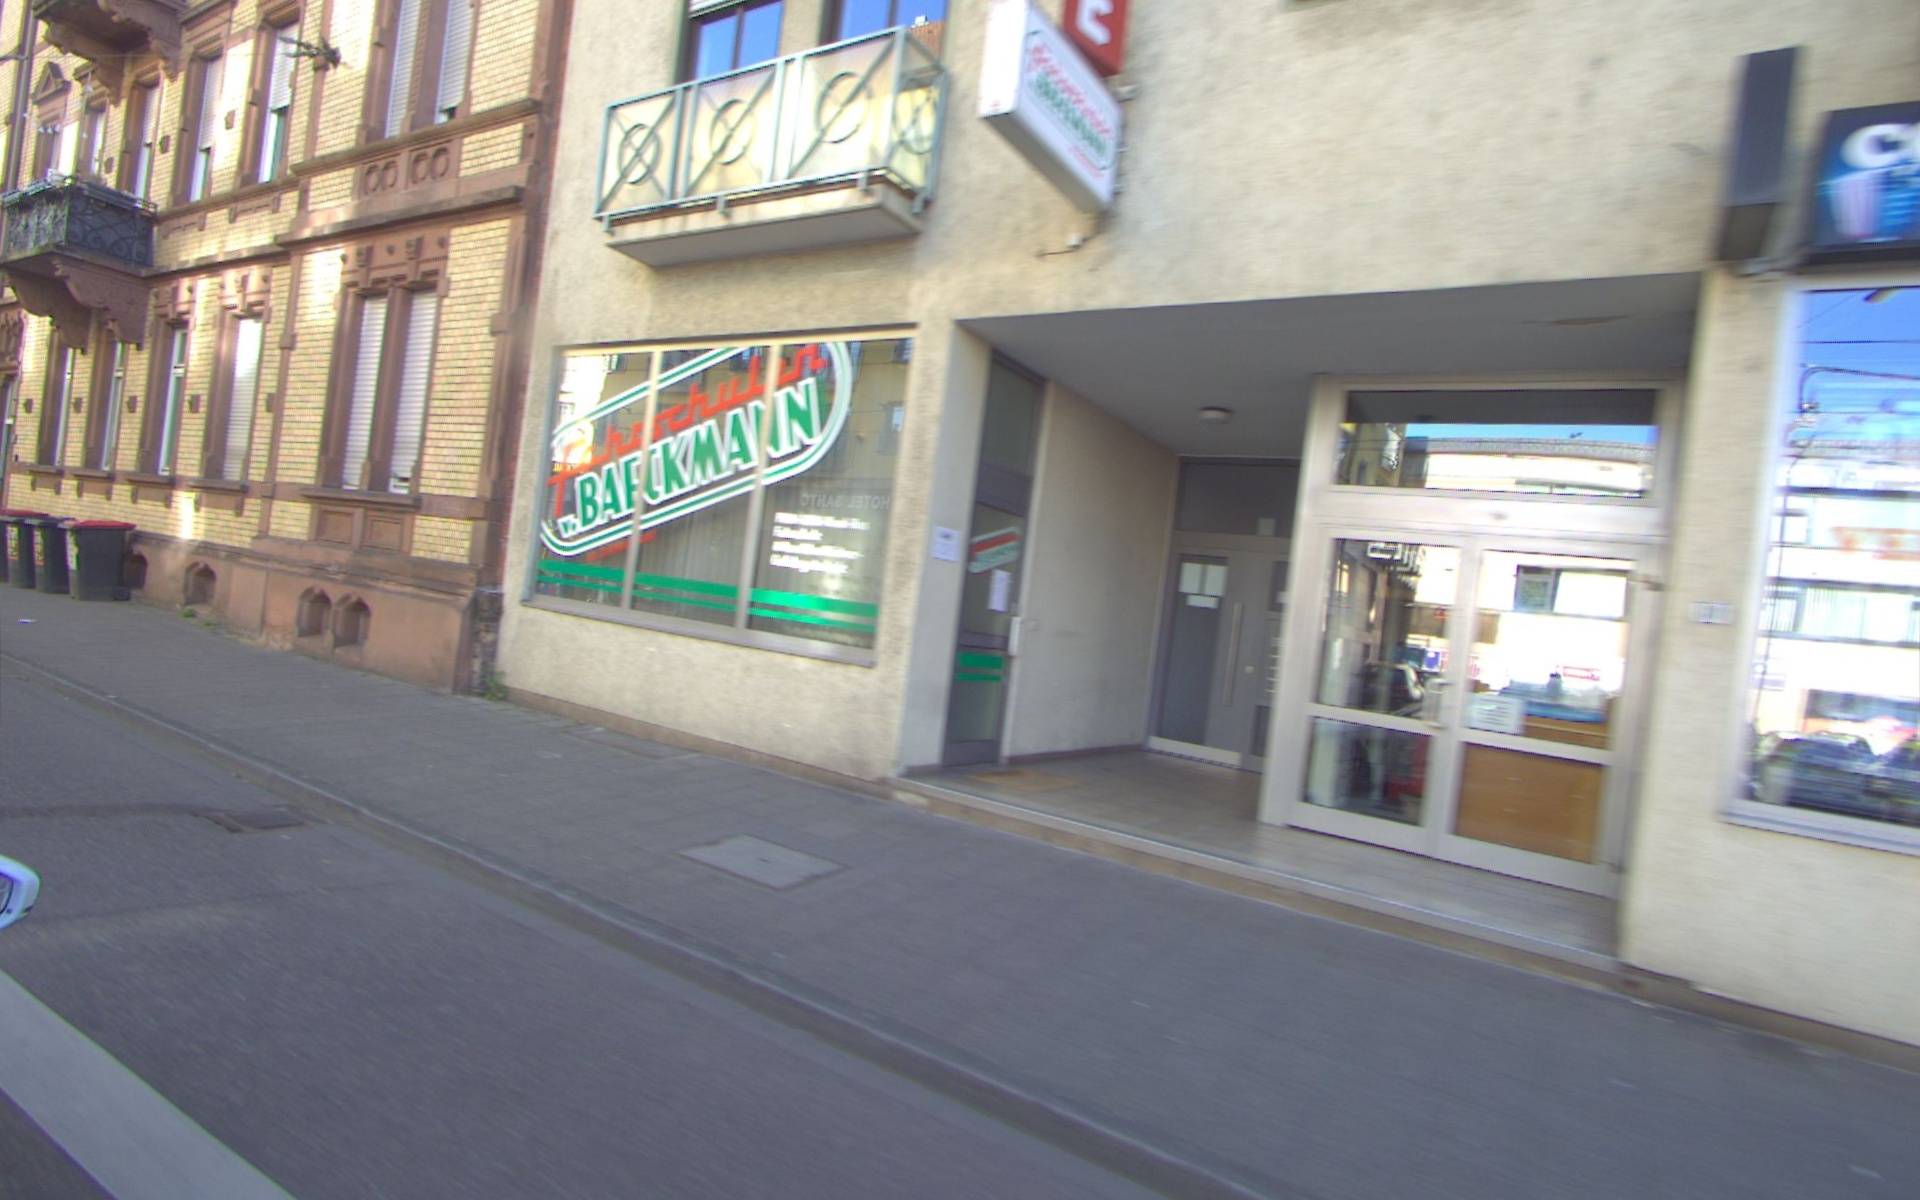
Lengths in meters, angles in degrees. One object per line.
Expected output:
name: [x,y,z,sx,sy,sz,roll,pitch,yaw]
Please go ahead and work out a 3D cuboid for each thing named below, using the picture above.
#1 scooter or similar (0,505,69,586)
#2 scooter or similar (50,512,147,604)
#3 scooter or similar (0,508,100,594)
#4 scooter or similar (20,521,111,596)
scooter or similar: [-14.042,-0.817,15.073,0.538,1.165,0.897,7,4,31]
scooter or similar: [-11.813,-0.566,13.799,0.777,1.164,0.790,7,4,31]
scooter or similar: [-13.201,-0.698,14.599,0.639,1.164,0.933,7,4,31]
scooter or similar: [-12.645,-0.585,14.227,0.669,0.971,0.790,7,4,31]
